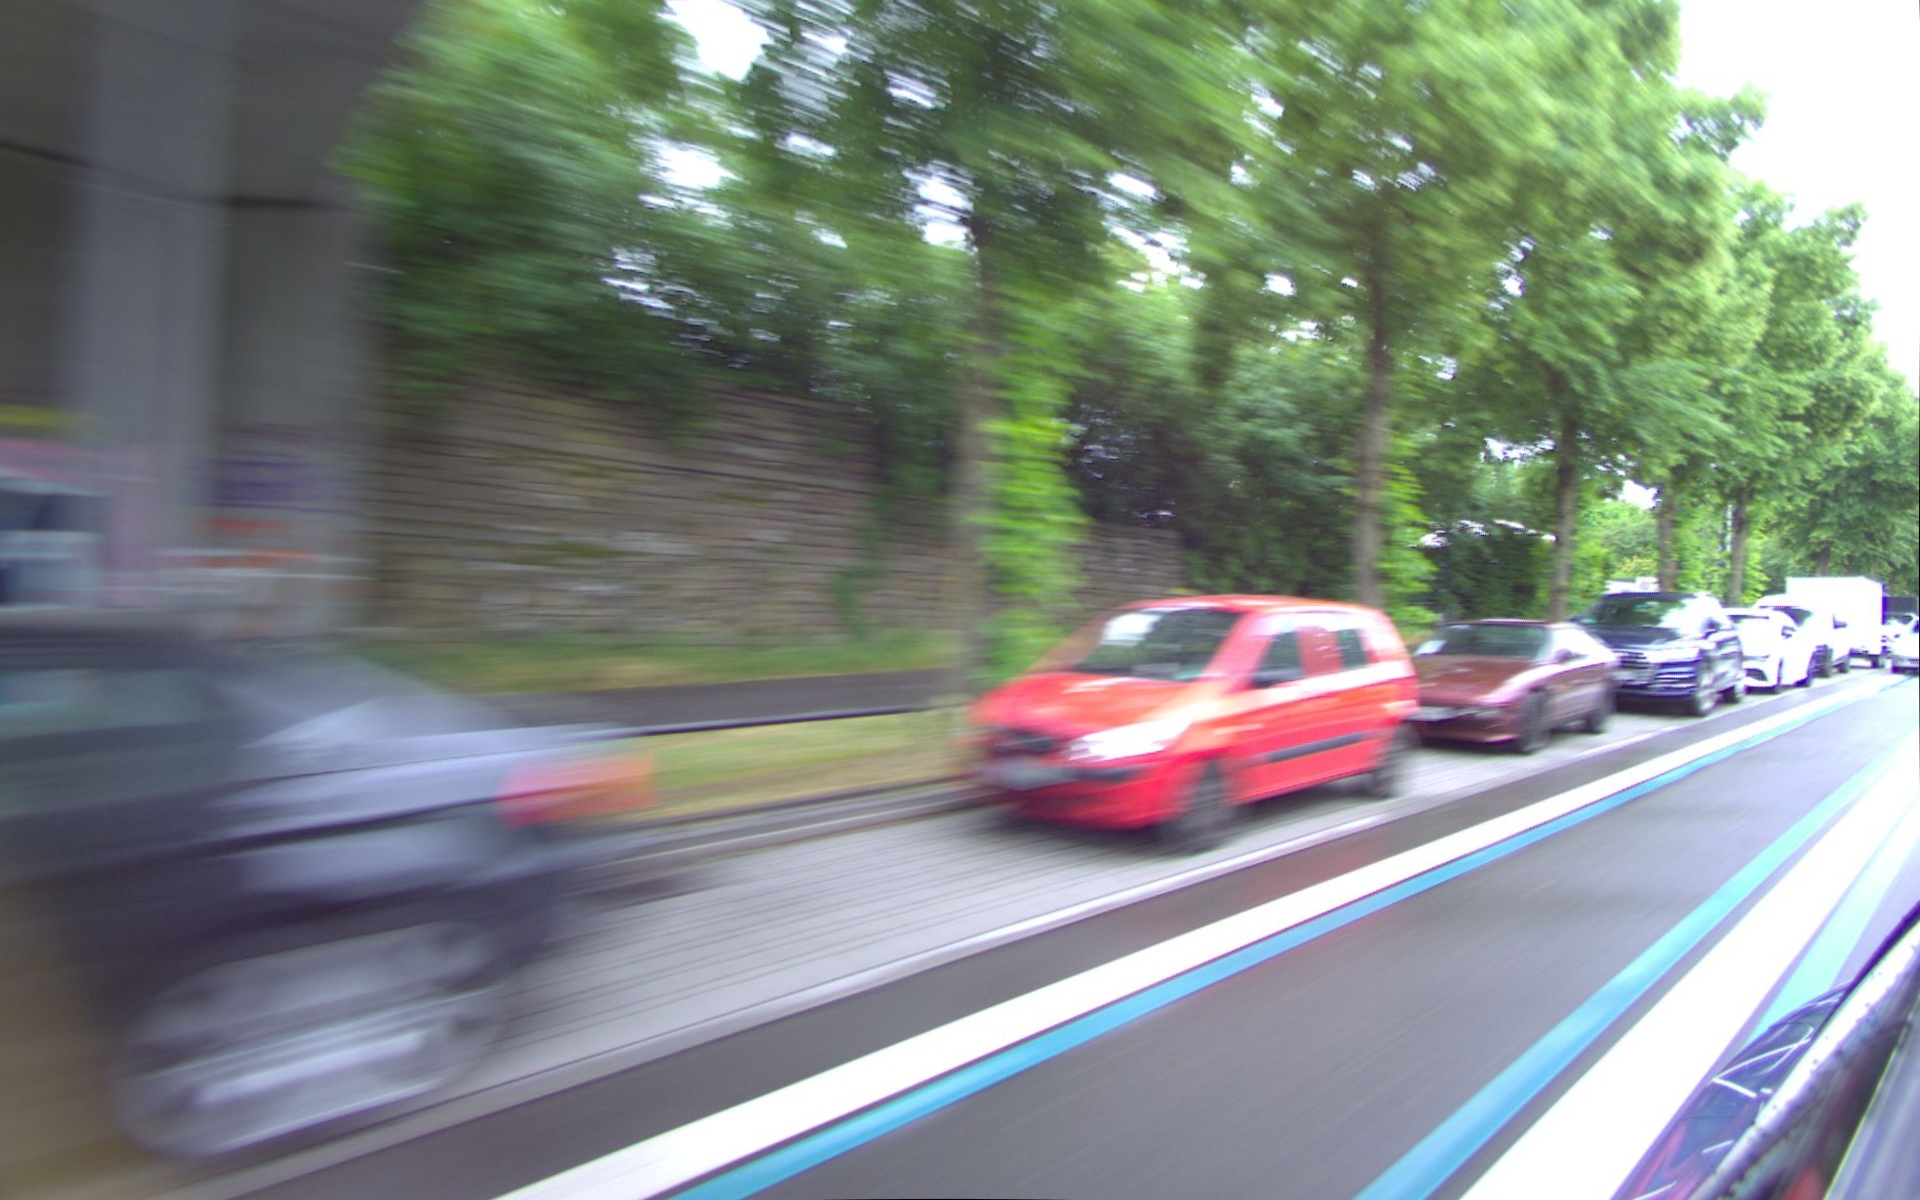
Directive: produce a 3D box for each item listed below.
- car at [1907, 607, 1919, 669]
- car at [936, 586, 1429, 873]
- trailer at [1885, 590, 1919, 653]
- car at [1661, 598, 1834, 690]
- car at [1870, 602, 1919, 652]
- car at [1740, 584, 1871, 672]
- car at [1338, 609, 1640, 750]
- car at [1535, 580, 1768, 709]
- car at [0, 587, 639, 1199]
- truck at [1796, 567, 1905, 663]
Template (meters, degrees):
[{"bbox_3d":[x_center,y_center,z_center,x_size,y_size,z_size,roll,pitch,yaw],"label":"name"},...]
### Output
[{"bbox_3d":[24.062,0.918,24.215,4.512,1.416,1.724,1,0,-43],"label":"car"},{"bbox_3d":[1.694,0.667,7.050,3.562,1.485,1.561,0,1,-42],"label":"car"},{"bbox_3d":[36.217,0.826,38.381,3.502,2.298,1.348,1,-1,-42],"label":"trailer"},{"bbox_3d":[14.409,0.742,18.422,4.537,1.444,1.662,1,0,-41],"label":"car"},{"bbox_3d":[32.477,0.922,34.768,1.755,1.605,4.346,1,0,42],"label":"car"},{"bbox_3d":[19.378,0.612,23.133,4.270,1.813,1.724,1,0,-42],"label":"car"},{"bbox_3d":[5.846,0.741,10.950,4.112,1.205,1.627,1,0,-43],"label":"car"},{"bbox_3d":[10.188,0.564,14.754,1.995,1.580,4.567,1,0,45],"label":"car"},{"bbox_3d":[-3.208,0.711,2.412,4.375,1.411,1.675,-2,2,-42],"label":"car"},{"bbox_3d":[23.591,0.390,26.777,3.931,2.363,1.721,1,0,-42],"label":"truck"}]
